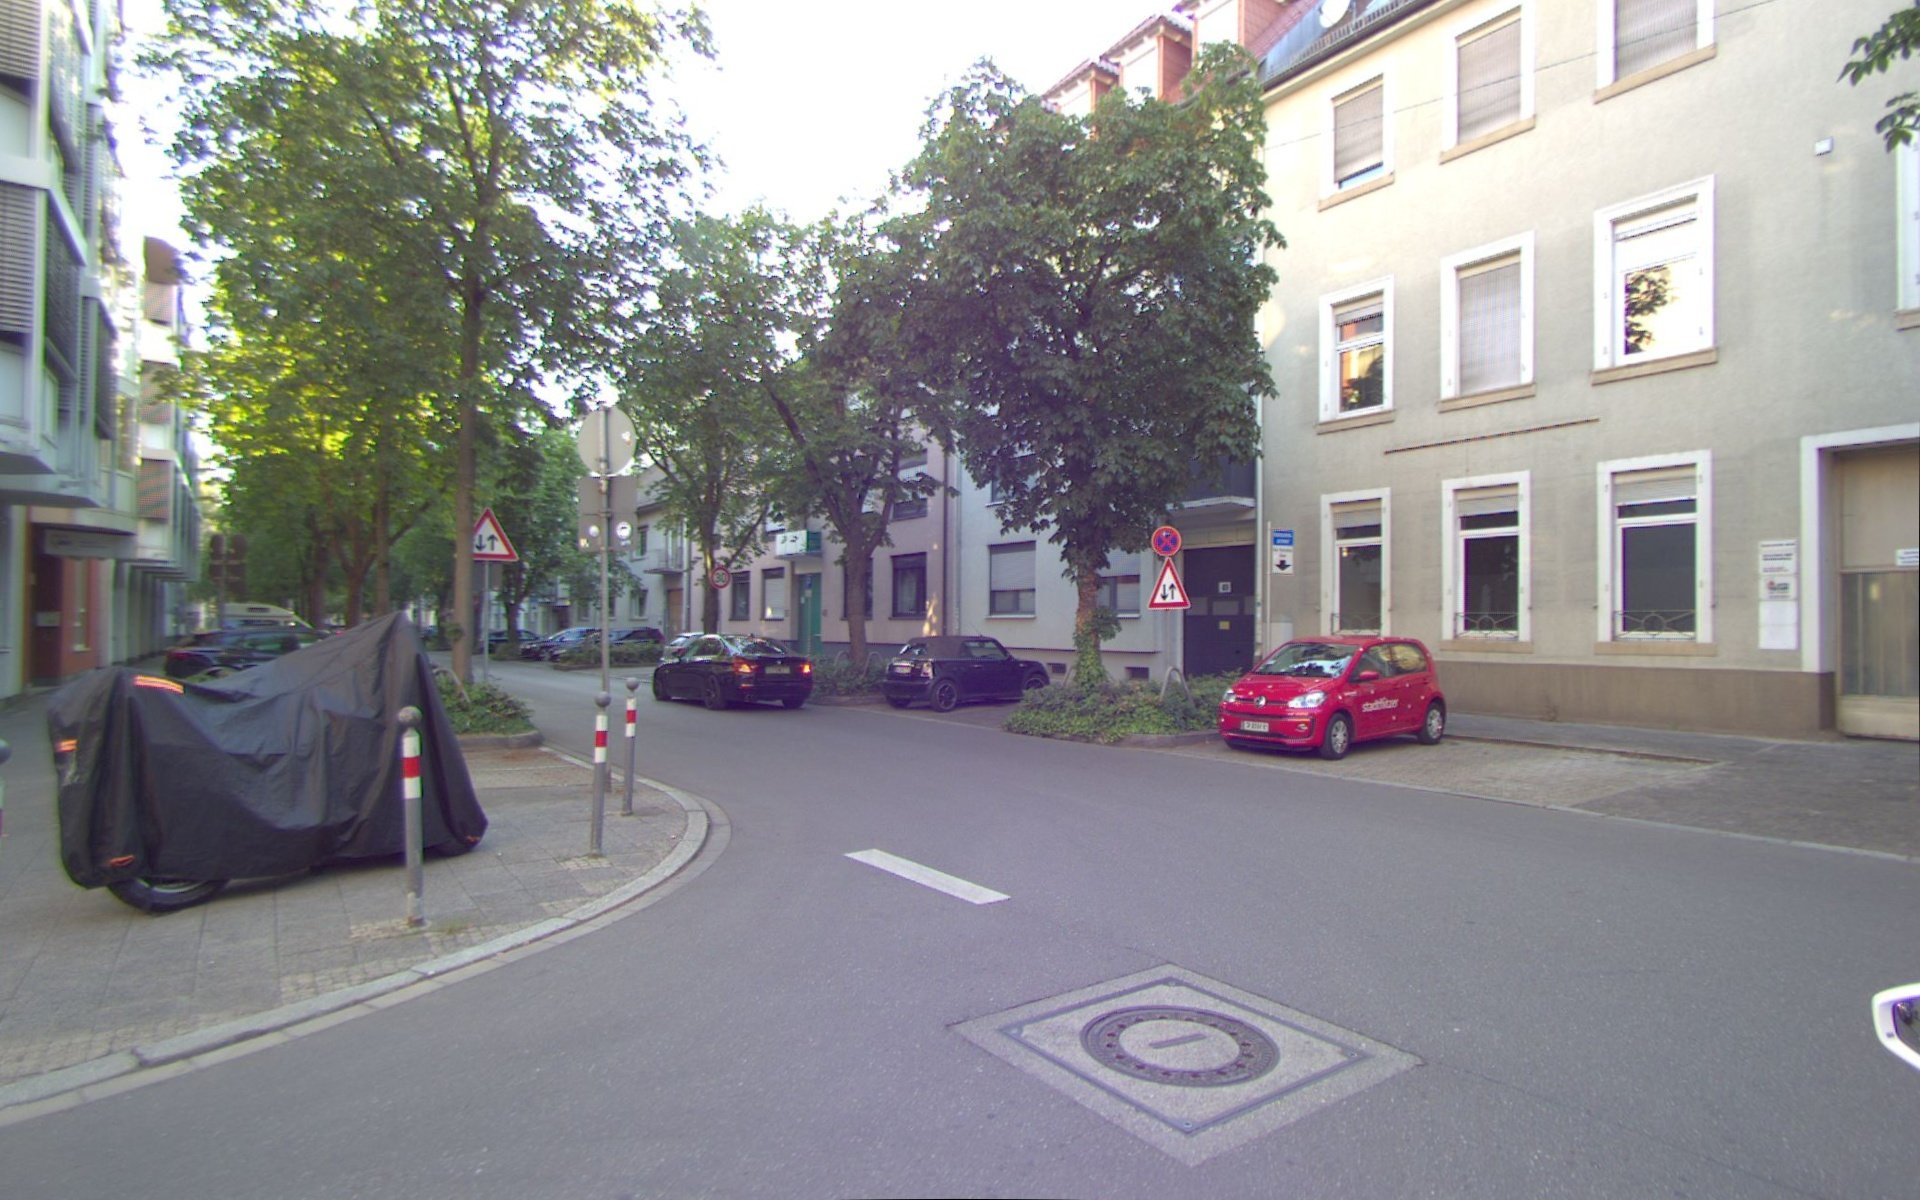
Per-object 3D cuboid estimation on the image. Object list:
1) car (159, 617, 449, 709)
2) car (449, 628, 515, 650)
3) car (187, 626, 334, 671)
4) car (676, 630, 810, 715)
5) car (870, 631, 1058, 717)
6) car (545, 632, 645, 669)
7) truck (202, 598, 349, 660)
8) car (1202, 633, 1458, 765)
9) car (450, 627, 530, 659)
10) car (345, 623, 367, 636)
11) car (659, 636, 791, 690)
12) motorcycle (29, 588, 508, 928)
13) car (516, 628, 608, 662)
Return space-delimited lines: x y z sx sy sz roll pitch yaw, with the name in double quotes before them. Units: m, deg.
"car" -12.159 1.165 18.840 4.329 1.529 1.816 3 -3 -36
"car" -31.105 2.547 65.355 3.636 1.411 1.549 2 -2 -38
"car" -24.623 1.733 35.476 4.106 1.491 1.624 3 -3 -36
"car" -4.523 1.375 20.432 1.744 1.469 4.641 1 -2 -24
"car" 0.139 1.421 20.431 3.685 1.447 1.608 -1 0 -41
"car" -15.175 2.071 41.779 3.636 1.411 1.549 1 -1 -38
"truck" -28.876 1.246 42.525 4.966 2.473 1.897 3 -1 -35
"car" 5.015 1.204 13.438 3.635 1.495 1.549 1 -1 -38
"car" -25.148 2.290 53.764 3.635 1.557 1.549 -1 0 -38
"car" -74.584 3.618 124.075 1.981 1.572 3.960 2 -2 -36
"car" -7.155 1.879 30.711 3.636 1.498 1.549 1 -1 -38
"motorcycle" -3.786 0.763 5.752 0.658 1.576 2.156 0 -2 34
"car" -18.763 2.096 47.394 3.770 1.550 1.549 1 -1 -38
